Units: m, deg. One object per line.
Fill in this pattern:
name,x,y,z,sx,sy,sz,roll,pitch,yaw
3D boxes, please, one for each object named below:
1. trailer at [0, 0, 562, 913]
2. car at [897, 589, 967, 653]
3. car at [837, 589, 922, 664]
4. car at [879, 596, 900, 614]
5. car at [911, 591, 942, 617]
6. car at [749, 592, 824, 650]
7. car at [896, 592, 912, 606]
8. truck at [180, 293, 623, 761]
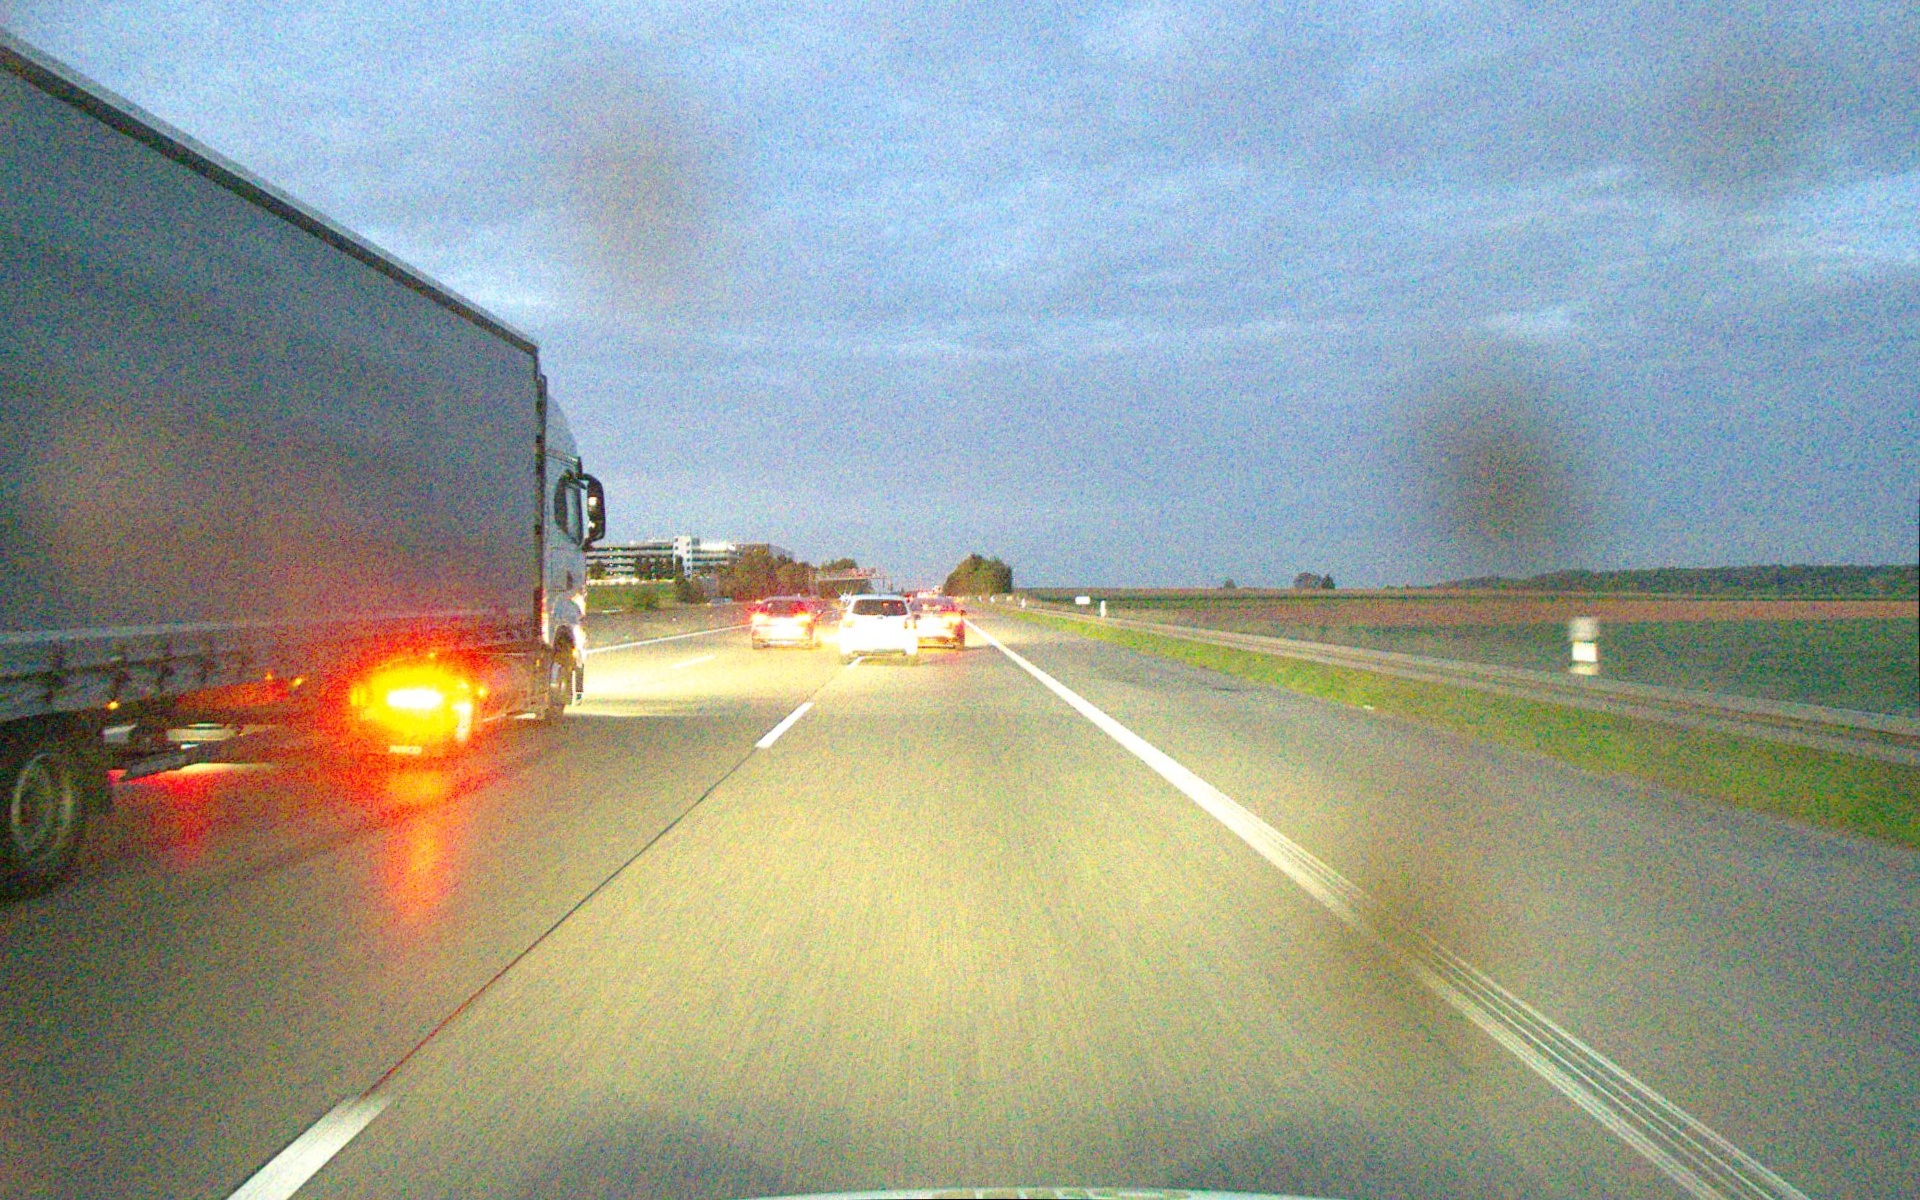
trailer,-5.584,-0.681,10.296,2.737,4.157,14.523,0,0,0
car,-0.795,0.578,46.128,1.842,1.672,3.999,1,0,-1
car,-1.745,0.575,37.141,1.709,1.551,4.413,1,0,-1
car,-6.343,0.473,149.363,1.842,1.579,3.998,1,0,-2
car,-2.114,0.241,102.833,1.842,1.579,3.998,1,0,-2
car,-4.749,0.580,45.817,1.688,1.497,4.724,1,0,-1
car,-7.801,-0.088,229.781,2.154,1.912,3.999,1,0,-1
truck,-5.620,-0.636,17.843,2.721,4.164,6.102,0,0,0
